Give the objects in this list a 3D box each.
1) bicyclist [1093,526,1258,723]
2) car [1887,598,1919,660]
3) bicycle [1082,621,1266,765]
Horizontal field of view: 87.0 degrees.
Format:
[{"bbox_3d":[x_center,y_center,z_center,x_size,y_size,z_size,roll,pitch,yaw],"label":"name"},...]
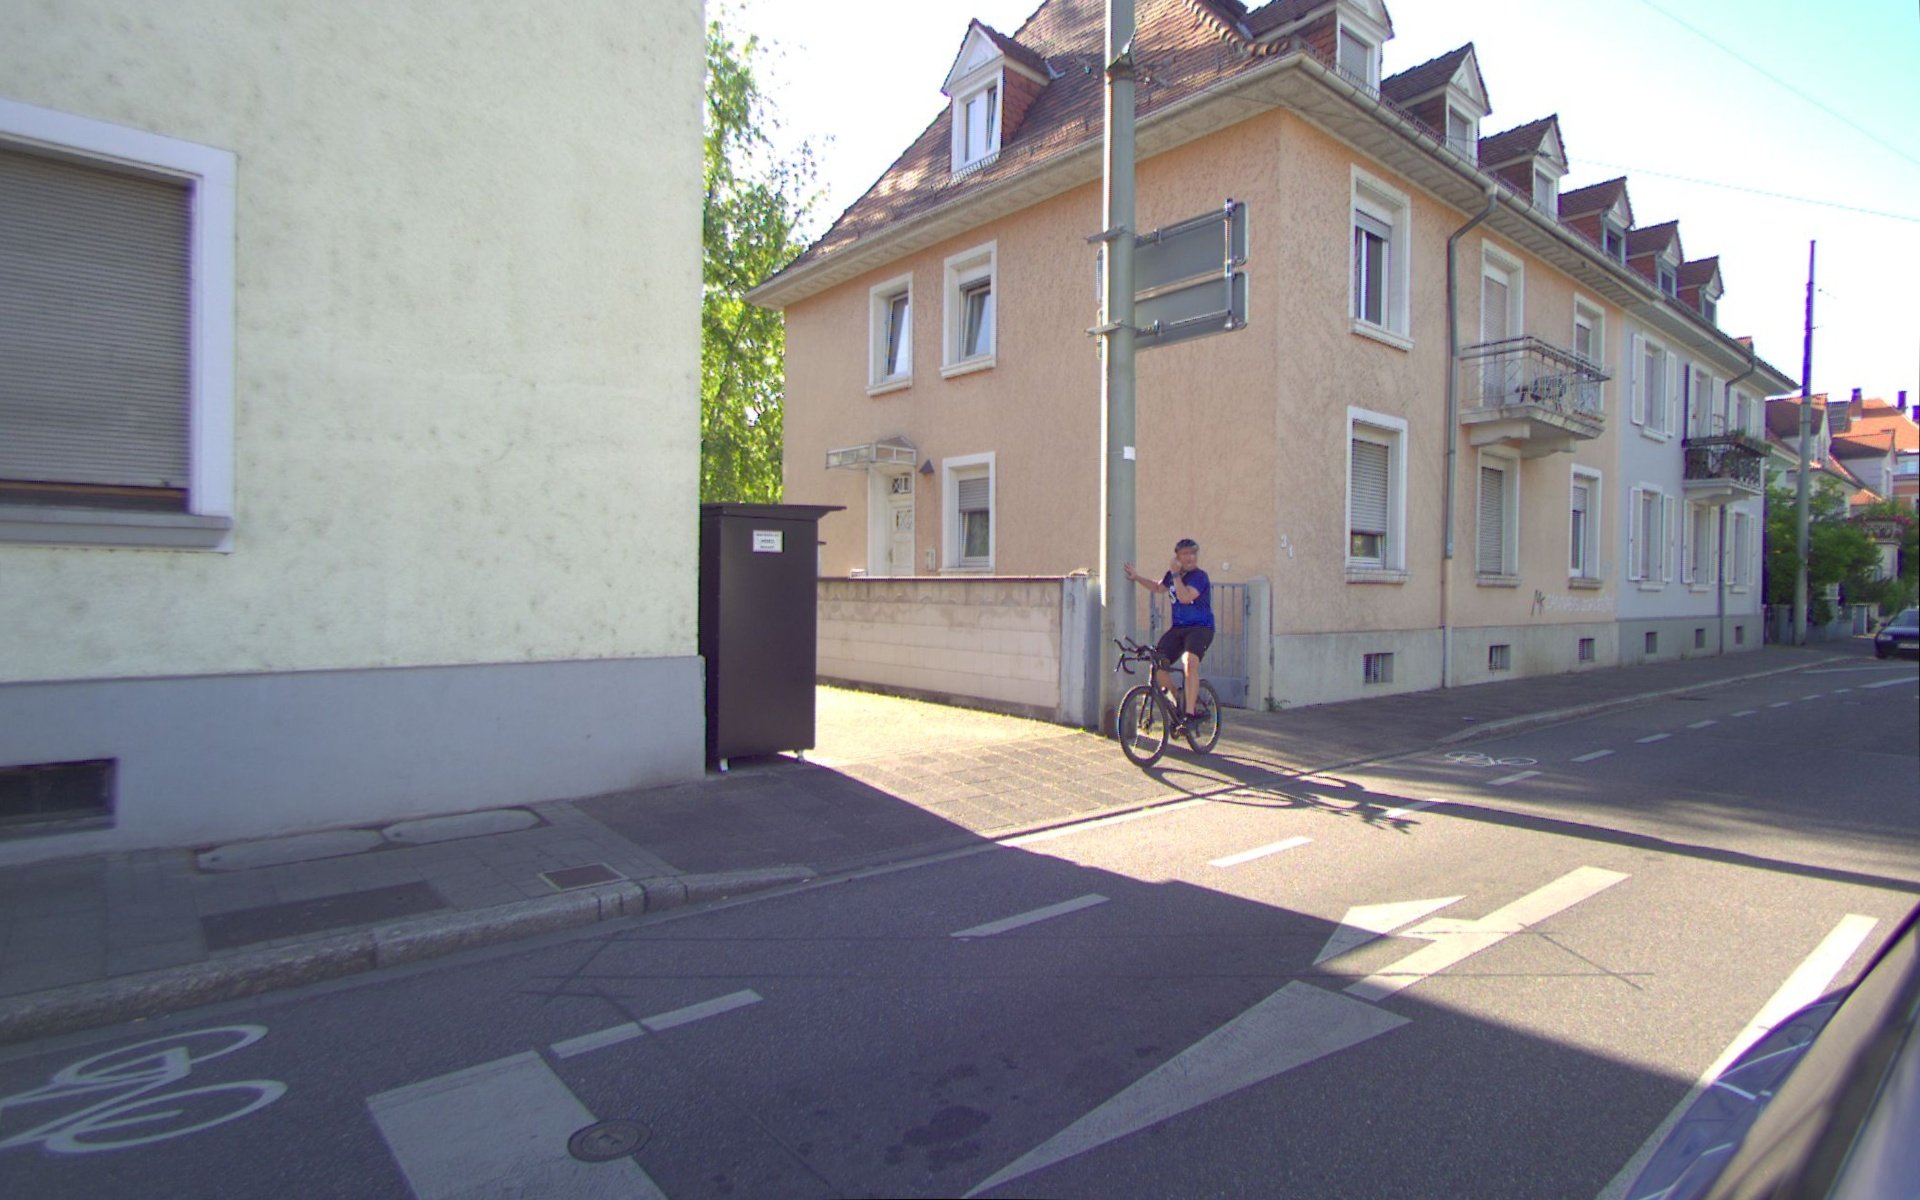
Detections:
[{"bbox_3d":[1.960,0.185,9.253,0.870,1.627,1.052,1,5,-41],"label":"bicyclist"},{"bbox_3d":[26.711,0.748,27.370,3.742,1.601,1.696,0,-1,-36],"label":"car"},{"bbox_3d":[1.929,0.770,8.984,1.744,1.081,0.592,0,5,-41],"label":"bicycle"}]
